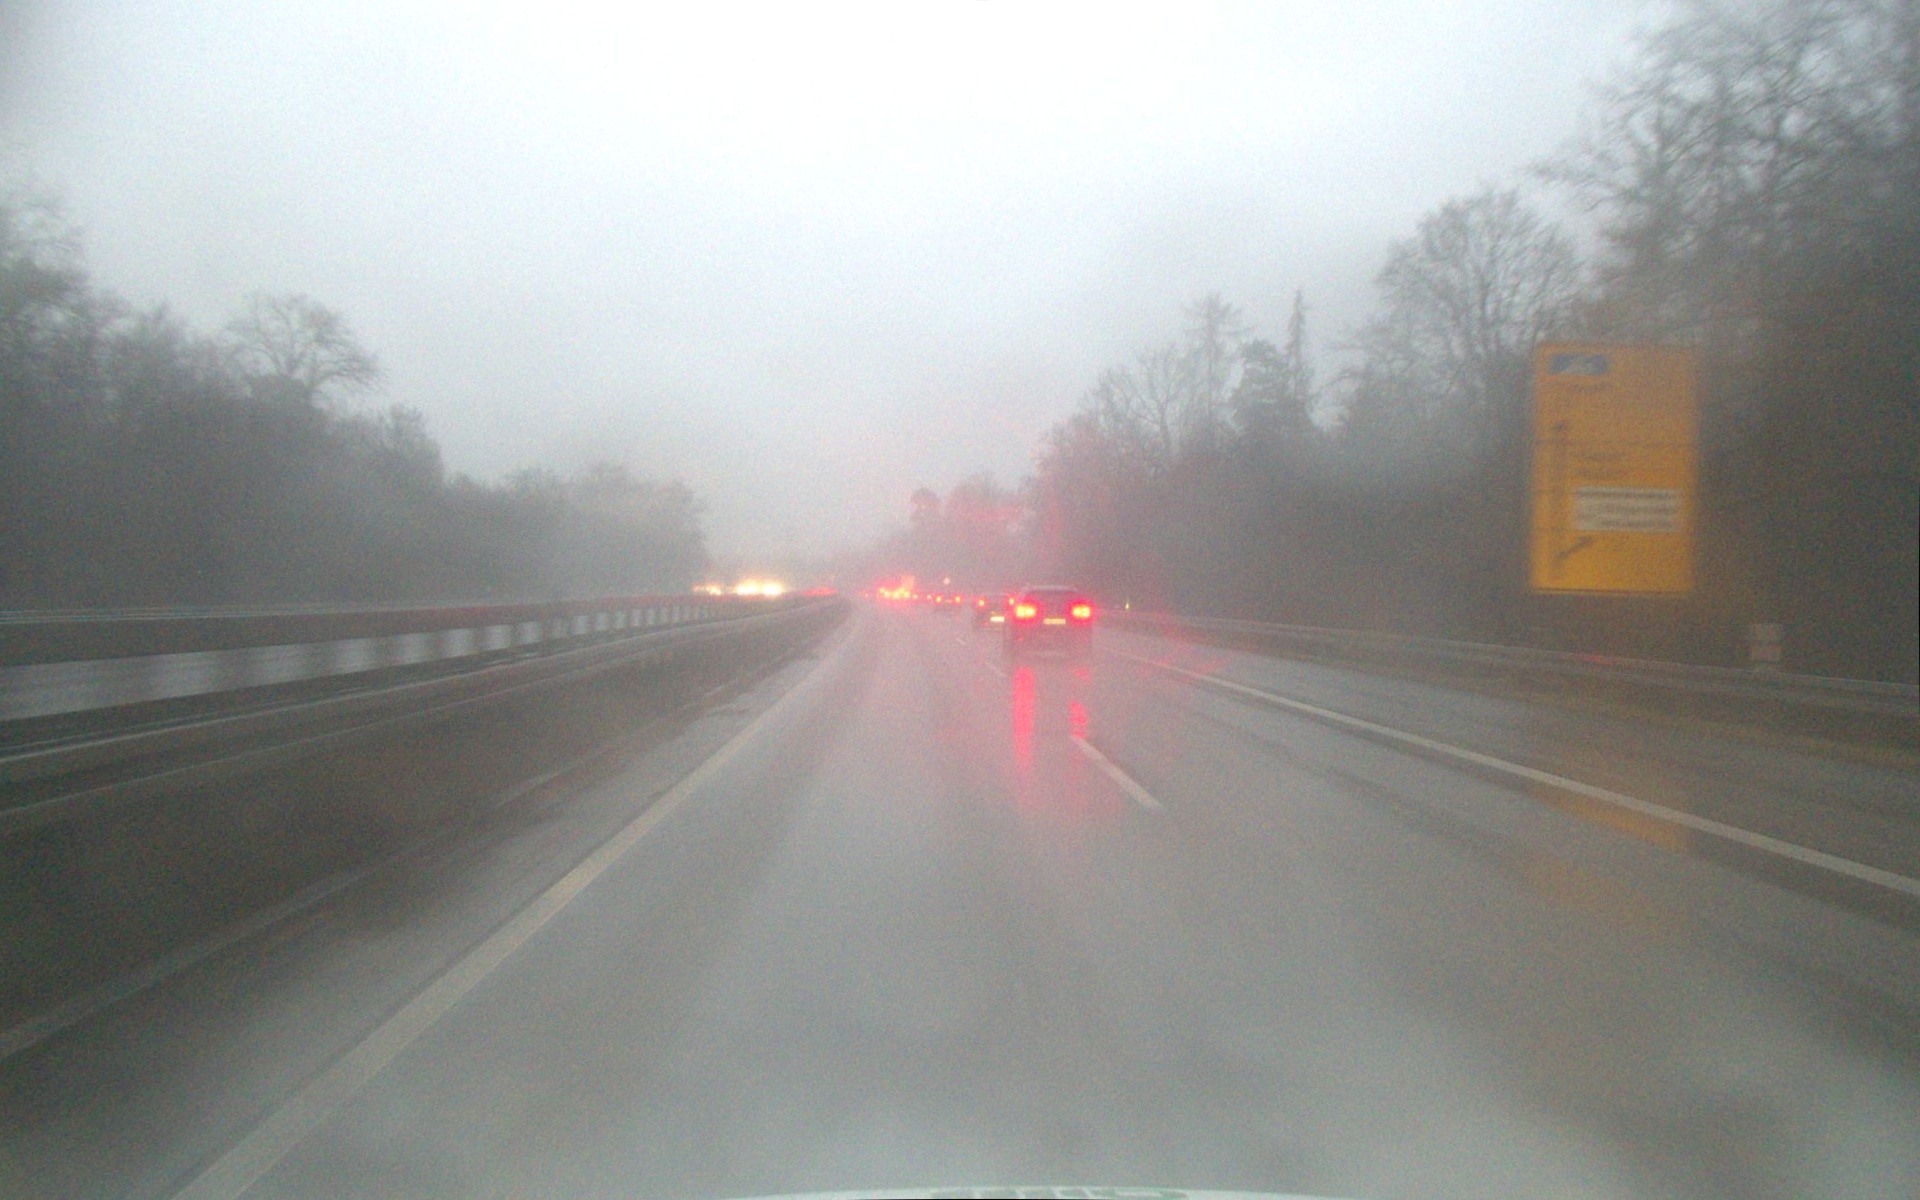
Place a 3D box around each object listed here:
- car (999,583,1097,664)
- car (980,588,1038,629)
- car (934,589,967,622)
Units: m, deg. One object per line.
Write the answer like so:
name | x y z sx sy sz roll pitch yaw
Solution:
car | 1.957 0.512 37.951 1.951 1.745 3.829 1 0 -1
car | 1.828 0.329 63.178 1.953 1.445 3.999 3 0 -2
car | -0.608 0.331 105.883 1.953 2.049 3.998 1 0 -2
